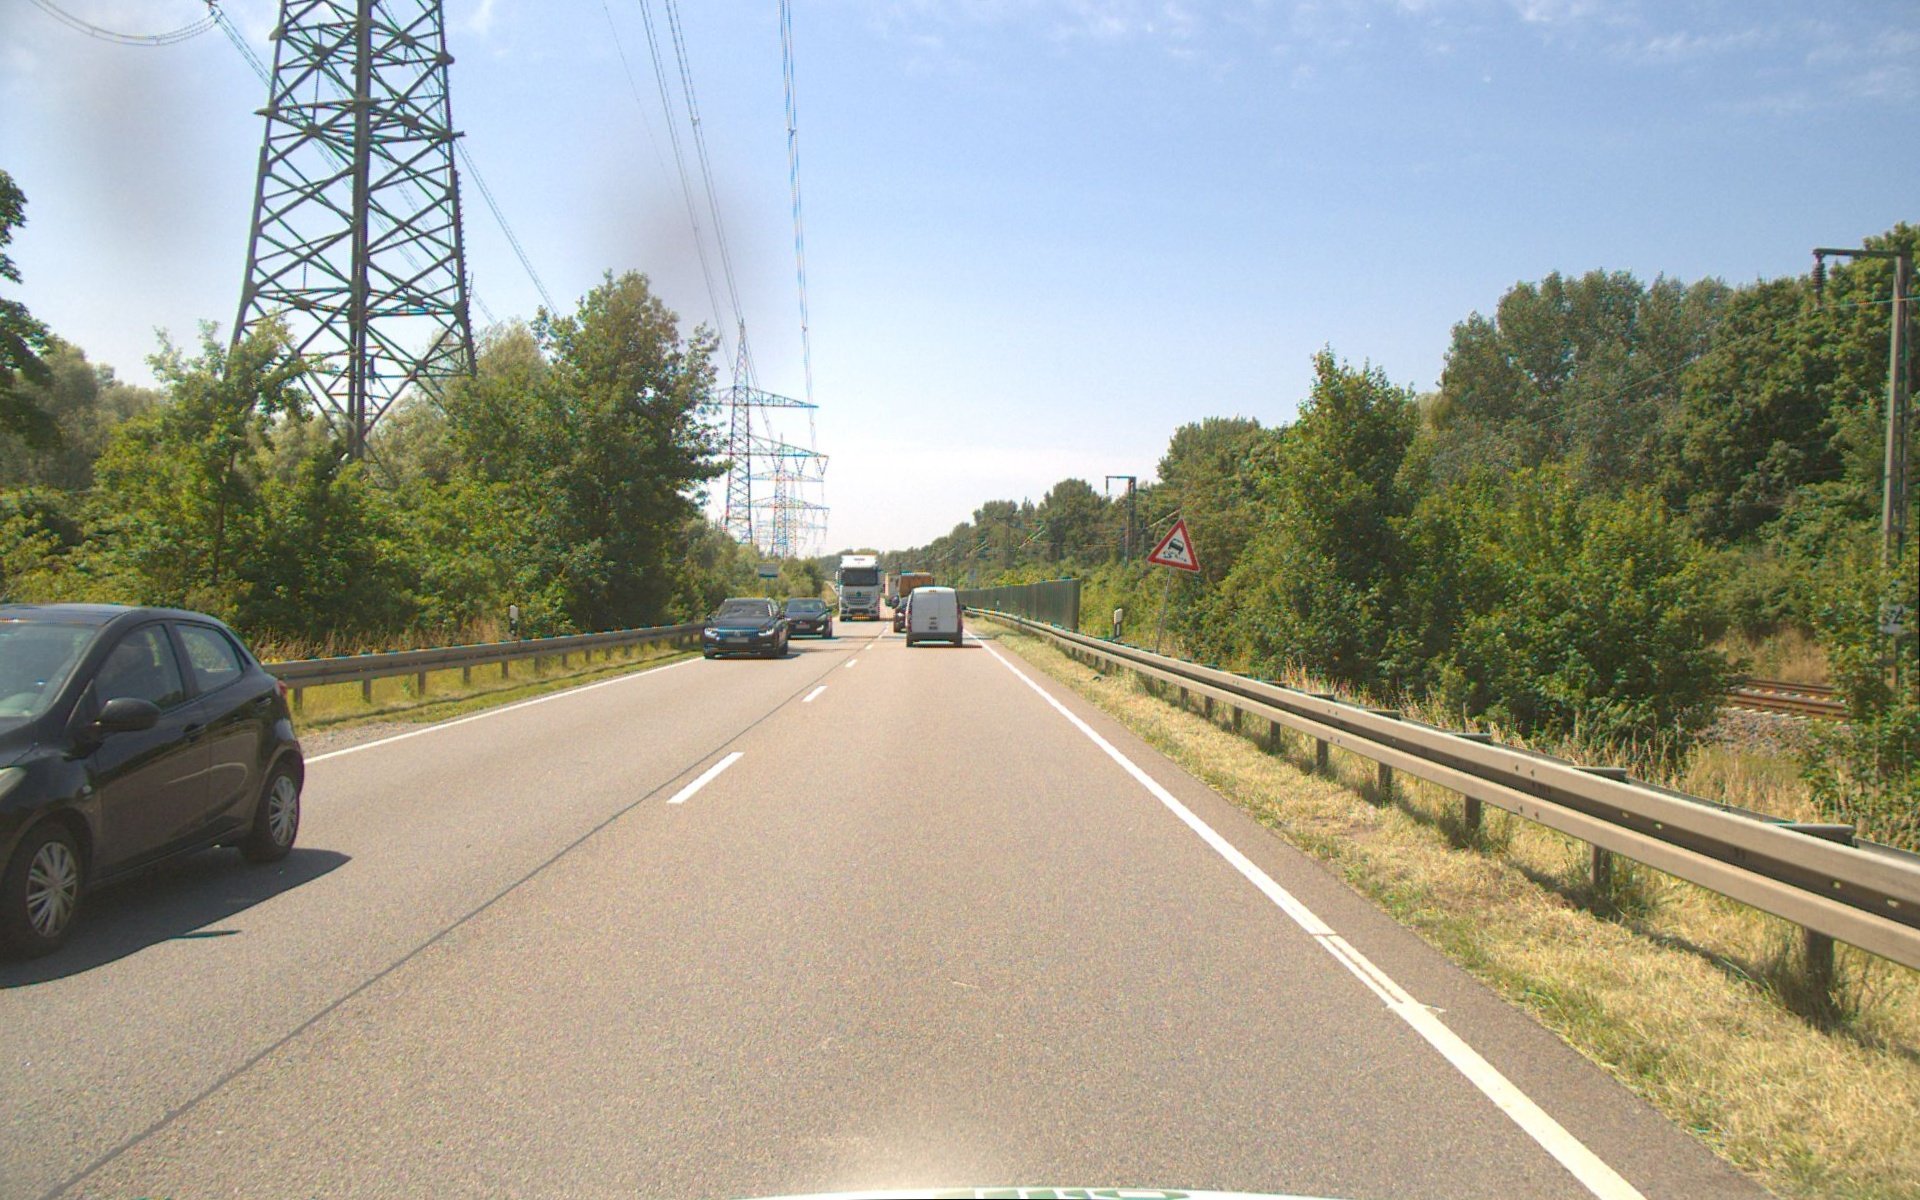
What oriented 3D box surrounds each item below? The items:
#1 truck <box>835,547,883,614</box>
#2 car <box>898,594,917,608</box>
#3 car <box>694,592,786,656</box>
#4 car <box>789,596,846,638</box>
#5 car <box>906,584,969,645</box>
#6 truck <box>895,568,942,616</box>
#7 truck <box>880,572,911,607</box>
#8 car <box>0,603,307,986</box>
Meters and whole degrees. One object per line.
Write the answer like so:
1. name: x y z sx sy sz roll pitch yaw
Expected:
1. truck: -6.405 -1.219 106.231 2.687 4.113 9.661 -1 0 -2
2. car: -5.588 0.102 175.907 1.953 1.553 3.998 0 0 -2
3. car: -5.443 0.570 41.372 1.807 1.523 3.999 0 0 -1
4. car: -5.153 0.604 60.277 1.764 1.480 3.999 0 0 -1
5. car: -0.722 0.425 51.306 1.837 1.772 3.999 1 0 -2
6. truck: -3.283 -0.707 127.395 3.231 3.226 14.399 3 1 -3
7. truck: -8.151 -1.387 208.391 3.335 3.921 16.807 3 1 -4
8. car: -4.500 0.744 7.315 1.601 1.462 4.413 0 0 -2
